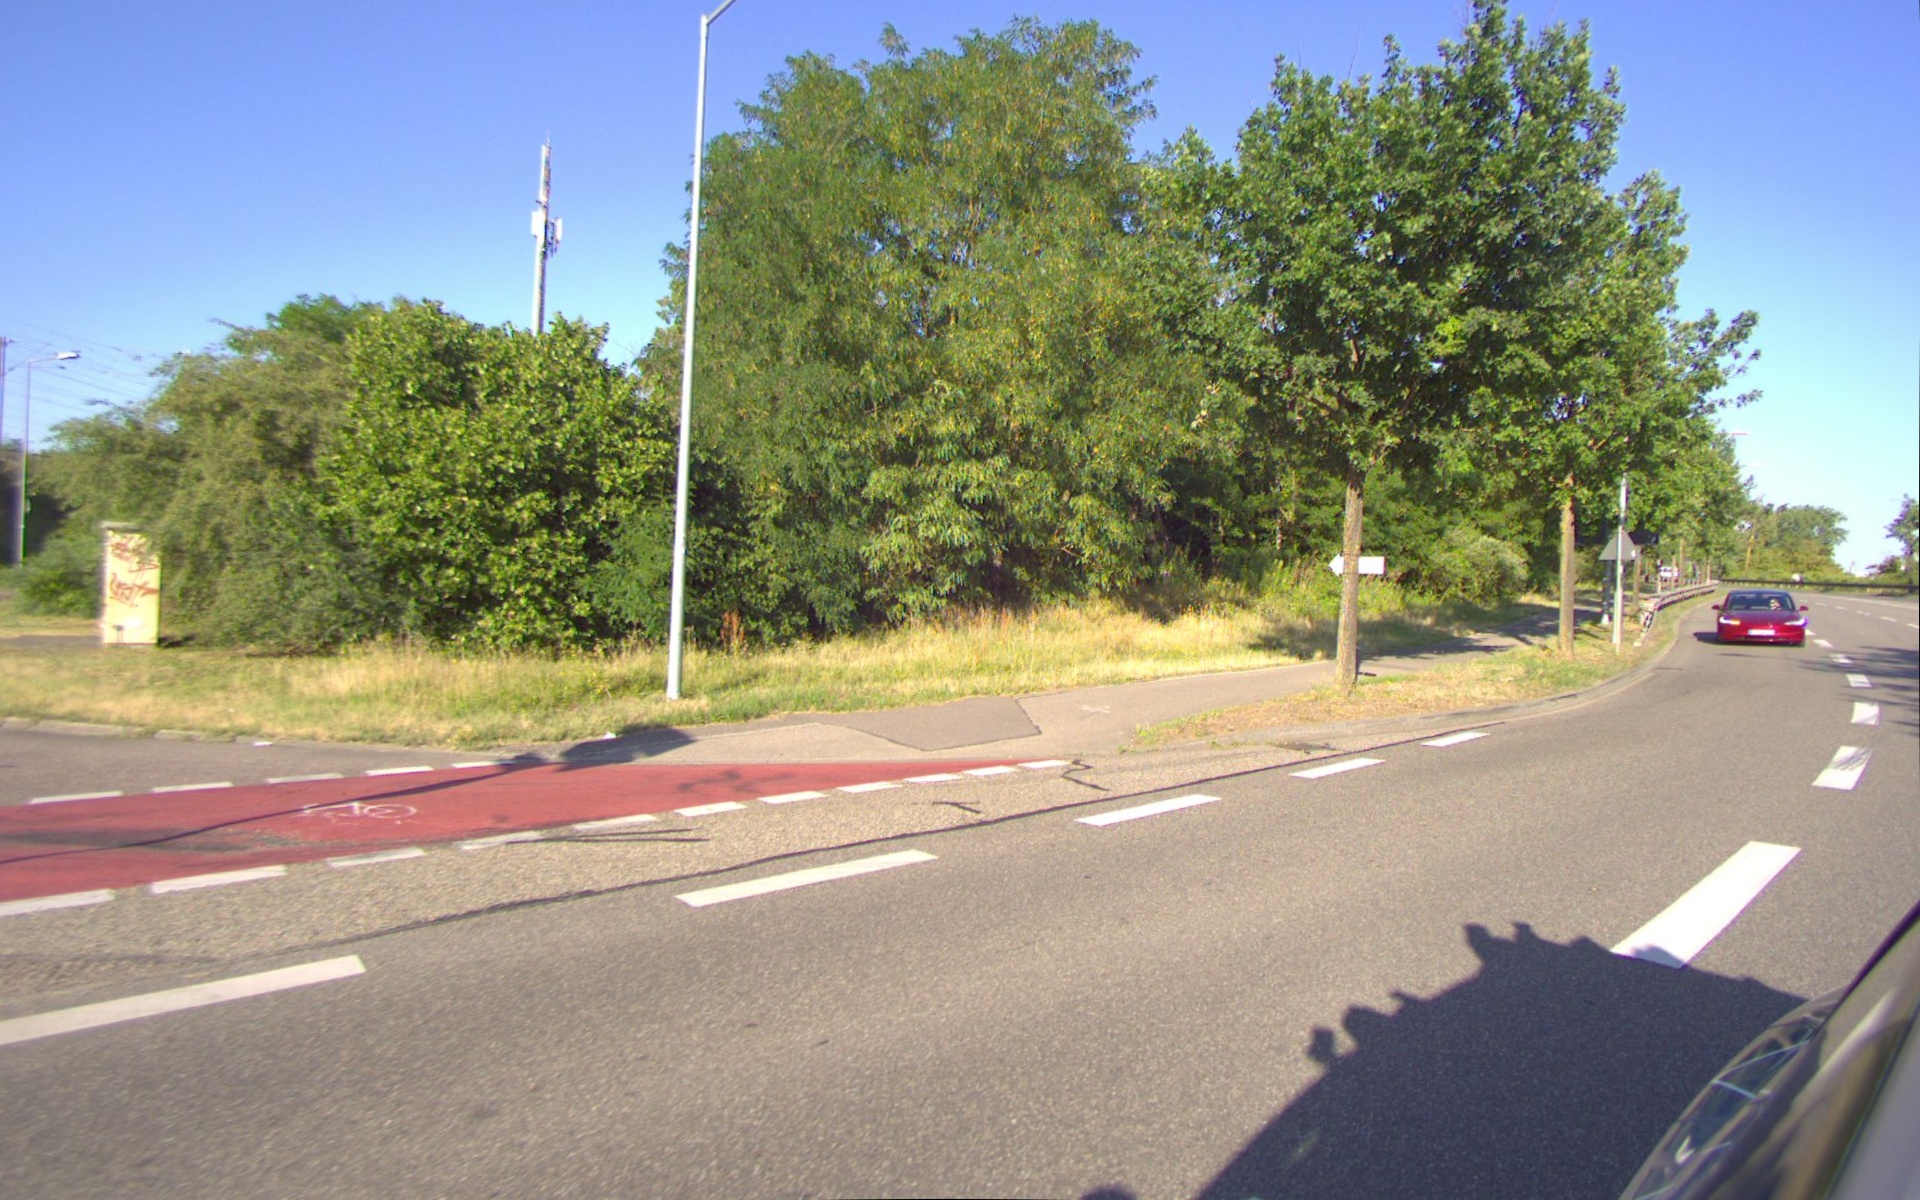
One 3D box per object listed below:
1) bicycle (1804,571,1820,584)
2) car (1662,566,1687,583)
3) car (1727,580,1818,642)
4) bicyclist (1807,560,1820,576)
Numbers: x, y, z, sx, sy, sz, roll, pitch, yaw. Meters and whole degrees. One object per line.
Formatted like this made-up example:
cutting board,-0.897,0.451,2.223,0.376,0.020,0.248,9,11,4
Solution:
bicycle,79.868,-2.092,94.883,0.578,1.089,2.293,4,4,26
car,89.380,-3.242,126.637,1.866,2.038,5.213,0,2,27
car,21.821,0.220,27.271,1.773,1.460,4.301,1,2,38
bicyclist,79.839,-3.000,94.668,0.595,1.476,0.821,4,4,26
